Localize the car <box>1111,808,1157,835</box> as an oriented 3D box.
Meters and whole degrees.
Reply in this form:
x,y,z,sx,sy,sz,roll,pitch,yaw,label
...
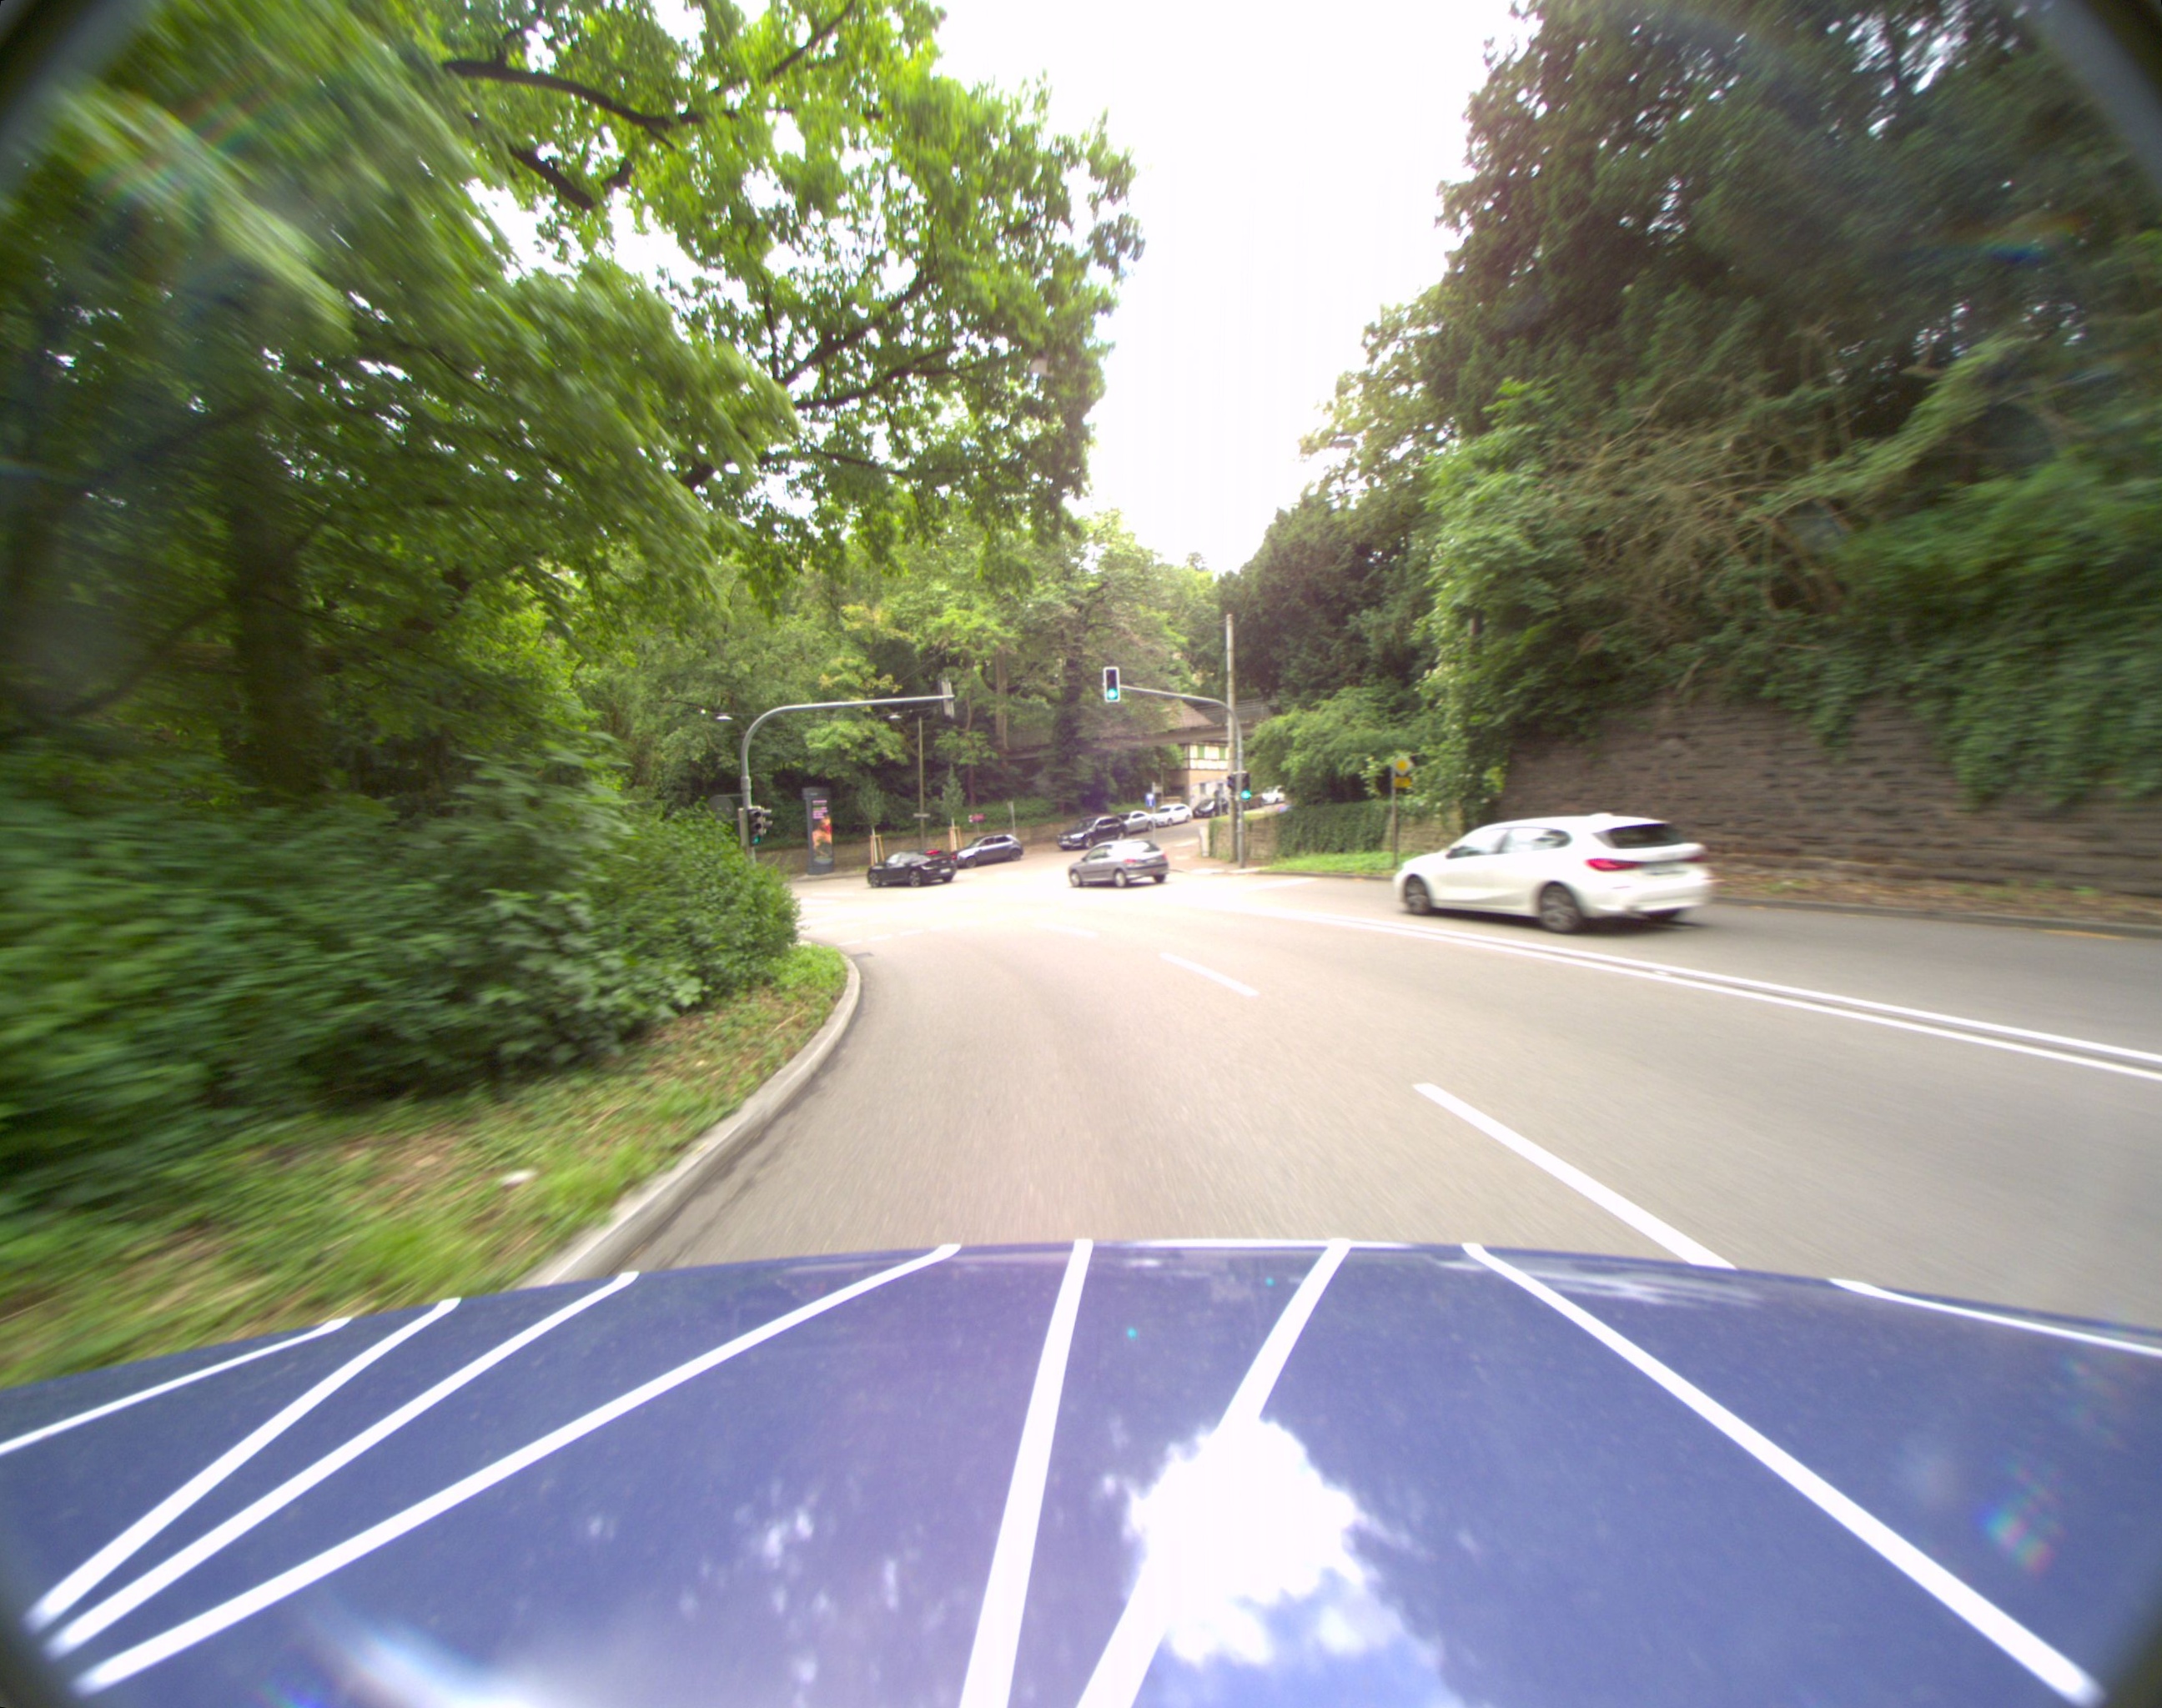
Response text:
x,y,z,sx,sy,sz,roll,pitch,yaw,label
3.671,-2.262,51.915,1.501,1.441,3.268,2,10,38,car

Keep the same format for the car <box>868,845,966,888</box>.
x,y,z,sx,sy,sz,roll,pitch,yaw,label
-7.177,0.575,33.007,4.386,1.535,1.638,-3,4,40,car

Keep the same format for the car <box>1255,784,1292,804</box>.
x,y,z,sx,sy,sz,roll,pitch,yaw,label
17.223,-5.363,67.852,1.598,1.323,3.916,2,10,39,car

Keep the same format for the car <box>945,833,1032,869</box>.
x,y,z,sx,sy,sz,roll,pitch,yaw,label
-4.823,-0.205,39.714,4.004,1.352,1.749,-9,7,-32,car

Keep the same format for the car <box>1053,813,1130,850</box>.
x,y,z,sx,sy,sz,roll,pitch,yaw,label
0.675,-1.338,44.413,1.803,1.676,4.548,0,7,43,car

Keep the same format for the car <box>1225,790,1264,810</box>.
x,y,z,sx,sy,sz,roll,pitch,yaw,label
13.823,-4.590,63.998,1.598,1.323,3.916,2,9,39,car

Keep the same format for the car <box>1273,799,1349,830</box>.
x,y,z,sx,sy,sz,roll,pitch,yaw,label
13.754,-2.382,45.530,3.989,1.544,1.778,-1,7,30,car

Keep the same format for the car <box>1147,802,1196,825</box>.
x,y,z,sx,sy,sz,roll,pitch,yaw,label
6.717,-3.003,56.172,1.624,1.323,4.028,2,9,39,car

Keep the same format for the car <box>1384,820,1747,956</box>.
x,y,z,sx,sy,sz,roll,pitch,yaw,label
6.451,0.327,10.817,1.752,1.408,4.323,-5,2,-13,car

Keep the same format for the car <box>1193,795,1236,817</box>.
x,y,z,sx,sy,sz,roll,pitch,yaw,label
10.639,-3.801,60.229,1.598,1.323,3.916,2,9,39,car

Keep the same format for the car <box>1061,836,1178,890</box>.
x,y,z,sx,sy,sz,roll,pitch,yaw,label
1.123,0.275,23.940,1.613,1.410,3.745,-8,3,-34,car
